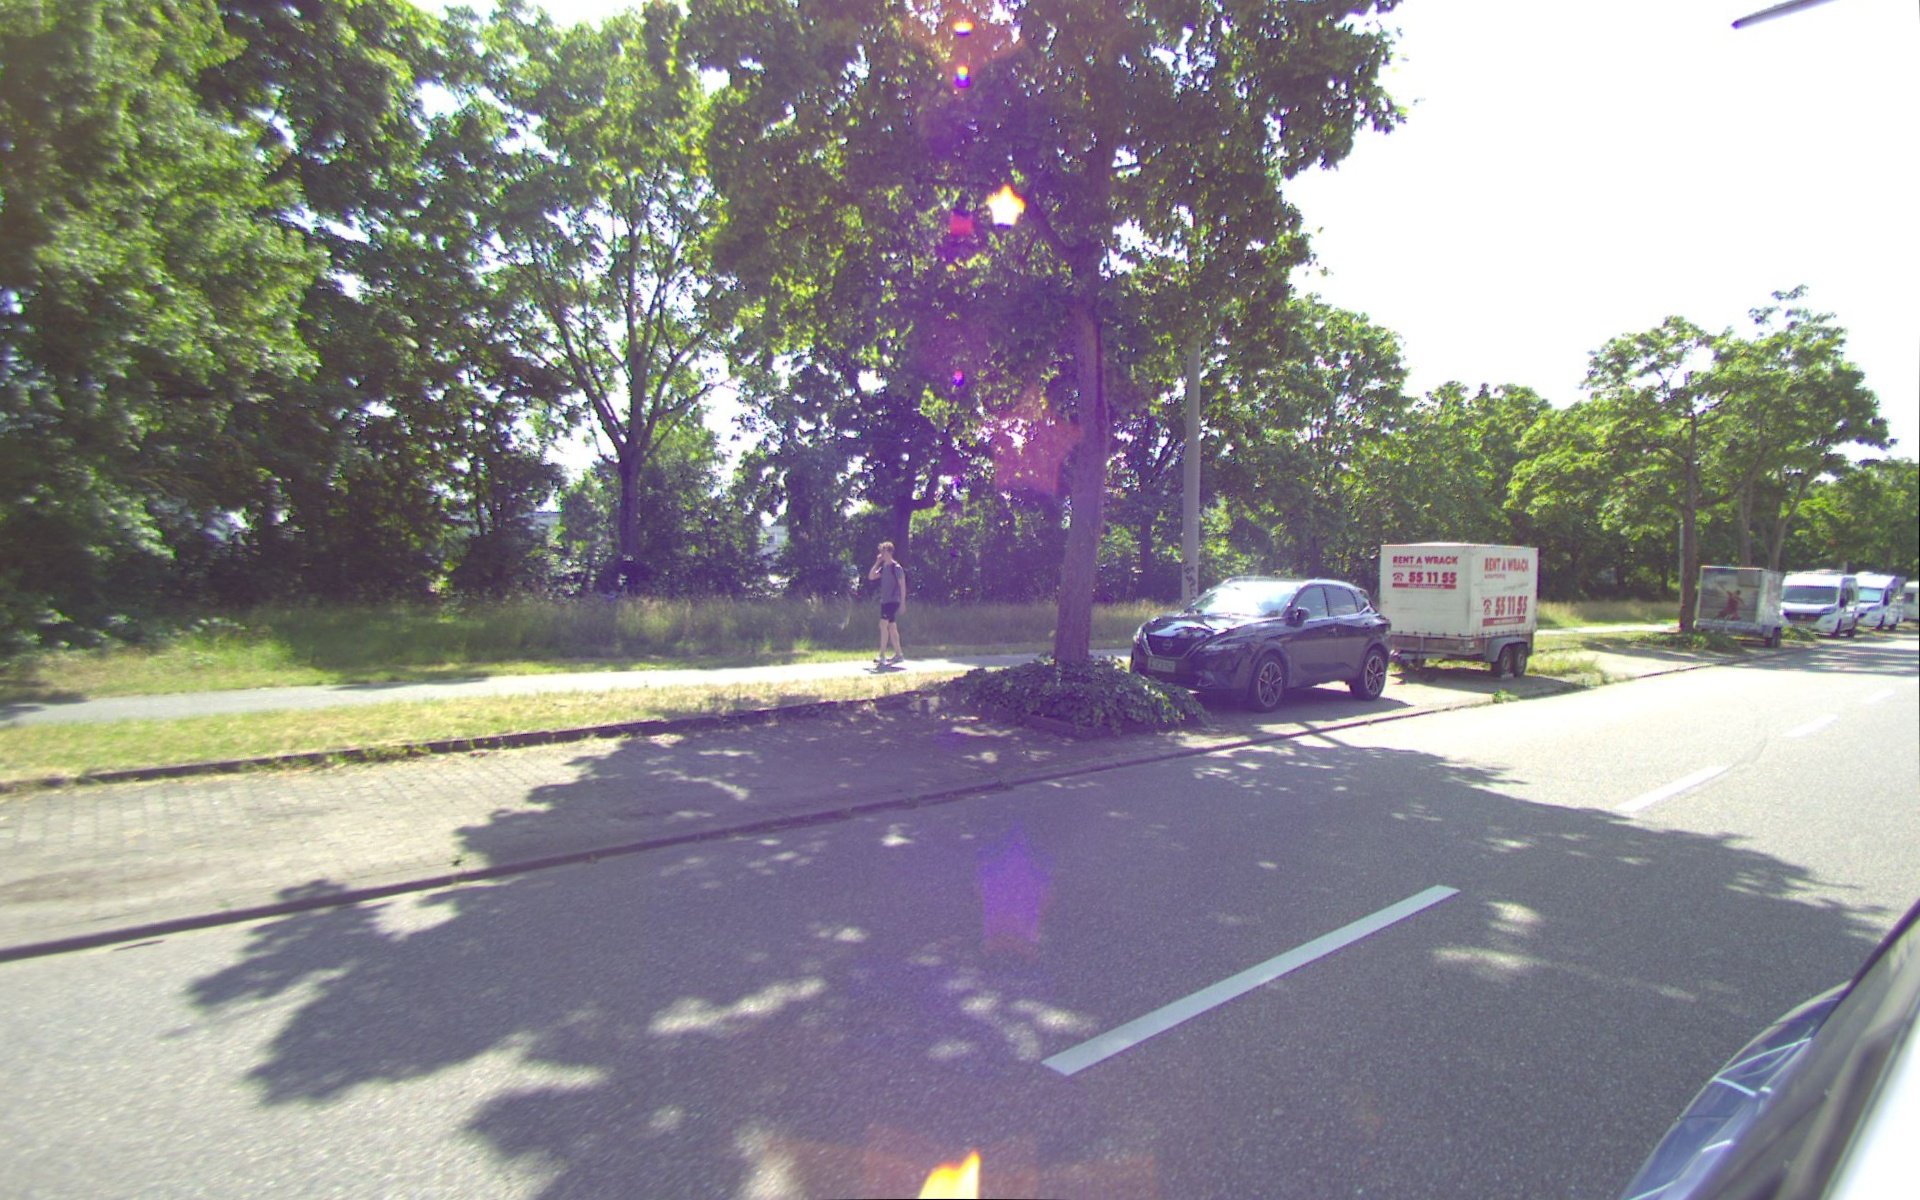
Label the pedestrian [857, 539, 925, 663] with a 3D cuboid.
[{"bbox_3d":[-1.041,0.013,15.316,0.727,1.816,0.718,0,0,-41],"label":"pedestrian"}]

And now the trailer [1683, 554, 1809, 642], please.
[{"bbox_3d":[24.194,-0.112,31.087,4.699,2.393,1.999,-1,6,-41],"label":"trailer"}]

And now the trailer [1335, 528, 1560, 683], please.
[{"bbox_3d":[8.648,0.022,17.785,4.528,2.380,1.956,0,3,-42],"label":"trailer"}]

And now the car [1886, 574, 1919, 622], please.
[{"bbox_3d":[54.851,-0.138,57.701,6.652,2.571,2.261,-1,4,-42],"label":"car"}]

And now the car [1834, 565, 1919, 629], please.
[{"bbox_3d":[44.372,-0.200,48.876,6.652,2.836,2.261,-1,4,-42],"label":"car"}]

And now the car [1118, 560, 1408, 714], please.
[{"bbox_3d":[4.127,0.374,13.408,4.286,1.711,1.594,-1,3,-41],"label":"car"}]

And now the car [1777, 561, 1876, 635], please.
[{"bbox_3d":[34.598,-0.114,40.346,6.045,2.729,2.178,-1,0,-42],"label":"car"}]
